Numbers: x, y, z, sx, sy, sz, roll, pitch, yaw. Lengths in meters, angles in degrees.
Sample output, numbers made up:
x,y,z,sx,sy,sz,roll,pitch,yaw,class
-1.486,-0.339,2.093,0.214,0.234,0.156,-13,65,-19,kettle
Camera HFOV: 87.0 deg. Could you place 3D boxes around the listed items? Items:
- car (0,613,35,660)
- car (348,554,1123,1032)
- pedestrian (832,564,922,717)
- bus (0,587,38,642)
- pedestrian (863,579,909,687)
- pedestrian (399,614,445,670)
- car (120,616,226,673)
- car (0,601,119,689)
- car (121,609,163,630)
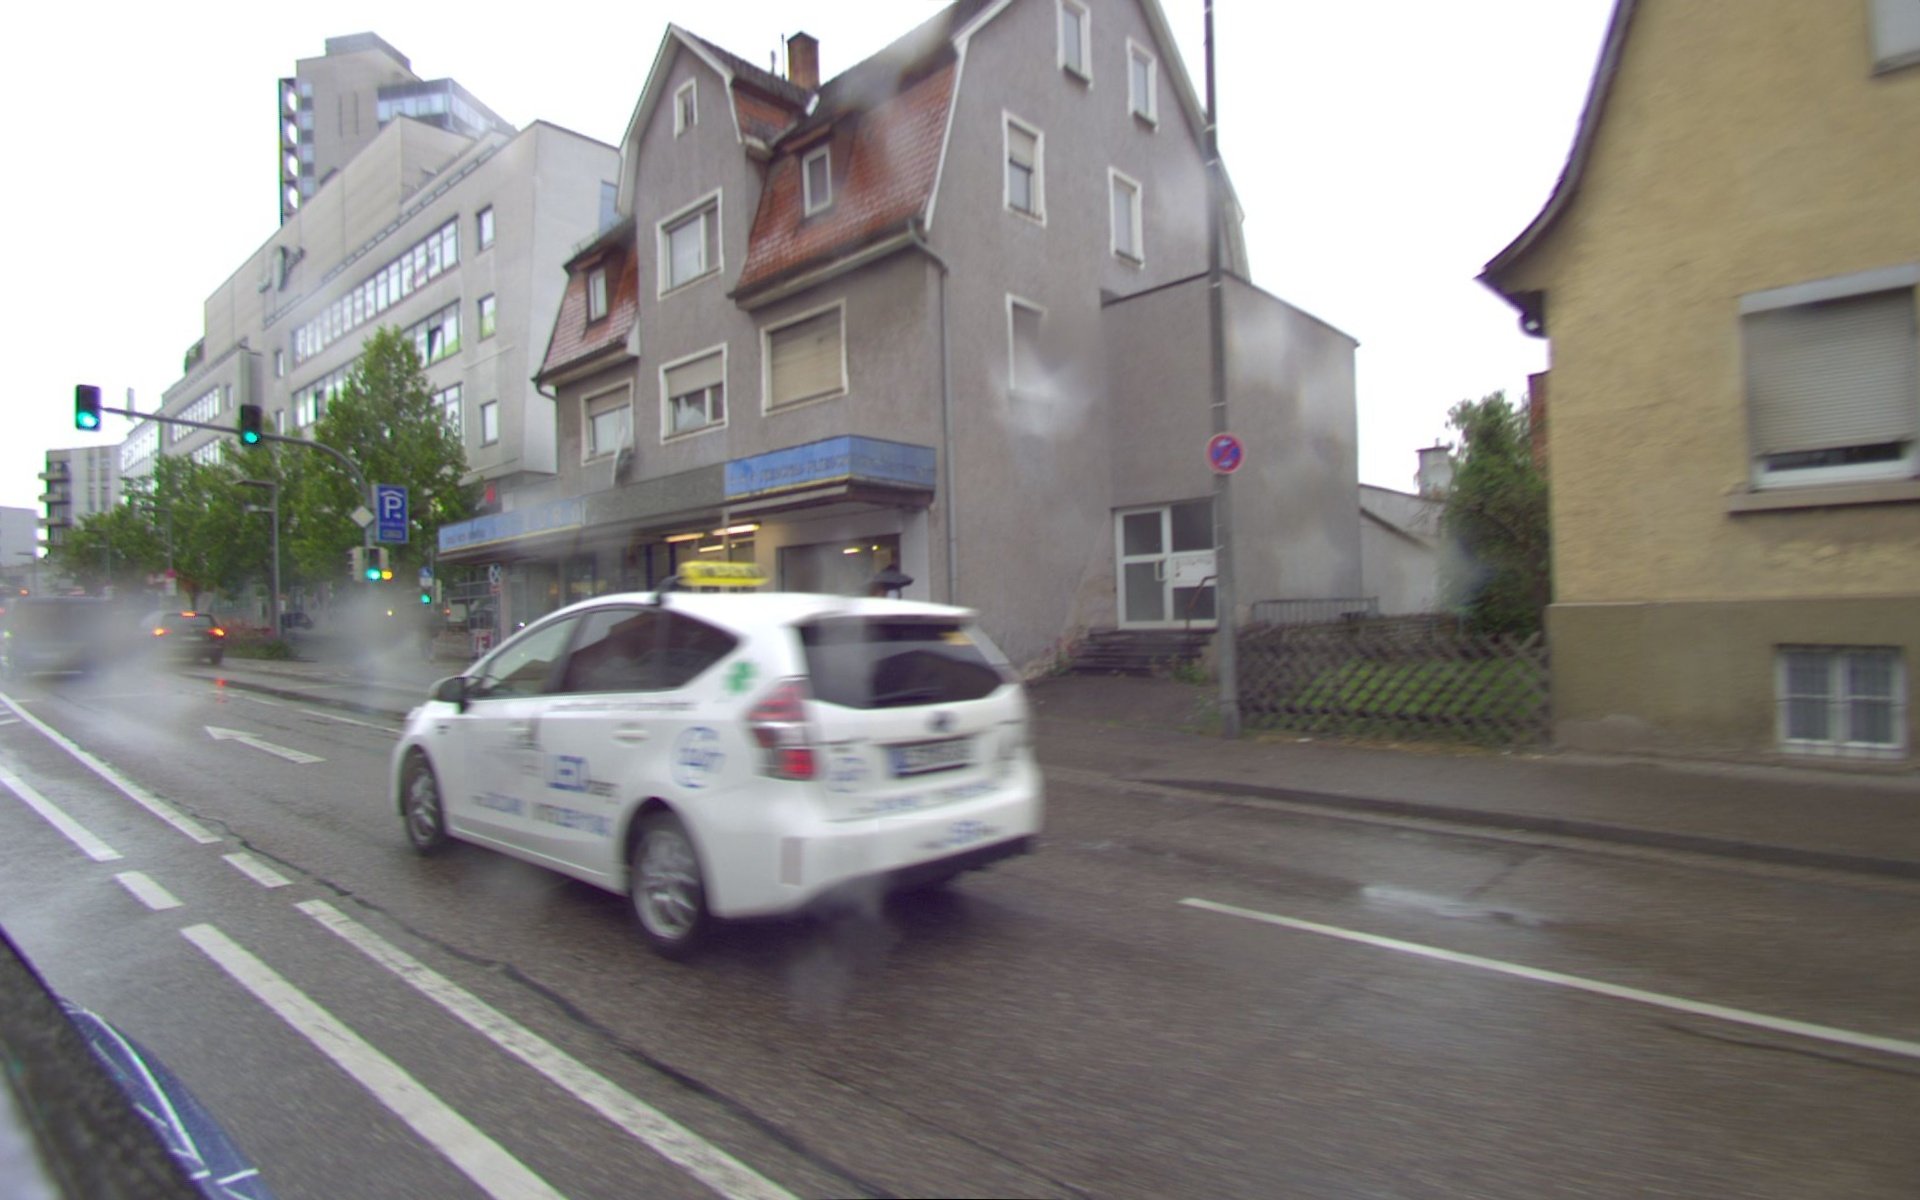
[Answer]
x,y,z,sx,sy,sz,roll,pitch,yaw,class
-37.032,1.339,38.485,4.845,1.725,2.077,-1,-2,40,car
-1.589,0.683,5.711,4.717,1.621,1.859,-1,-1,41,car
-1.090,0.506,13.319,0.944,1.935,0.655,-1,1,34,pedestrian
-59.328,0.883,62.029,11.994,3.123,2.862,-1,-2,41,bus
-1.100,0.480,15.052,0.446,1.569,0.537,-1,-2,42,pedestrian
-17.491,1.350,32.905,1.233,1.802,0.915,-1,-2,40,pedestrian
-24.590,1.327,31.549,4.951,1.630,1.978,-1,-2,45,car
-22.480,1.031,24.790,5.174,1.953,1.946,-1,-2,40,car
-58.156,1.385,71.944,3.729,1.421,1.734,-1,-2,42,car
